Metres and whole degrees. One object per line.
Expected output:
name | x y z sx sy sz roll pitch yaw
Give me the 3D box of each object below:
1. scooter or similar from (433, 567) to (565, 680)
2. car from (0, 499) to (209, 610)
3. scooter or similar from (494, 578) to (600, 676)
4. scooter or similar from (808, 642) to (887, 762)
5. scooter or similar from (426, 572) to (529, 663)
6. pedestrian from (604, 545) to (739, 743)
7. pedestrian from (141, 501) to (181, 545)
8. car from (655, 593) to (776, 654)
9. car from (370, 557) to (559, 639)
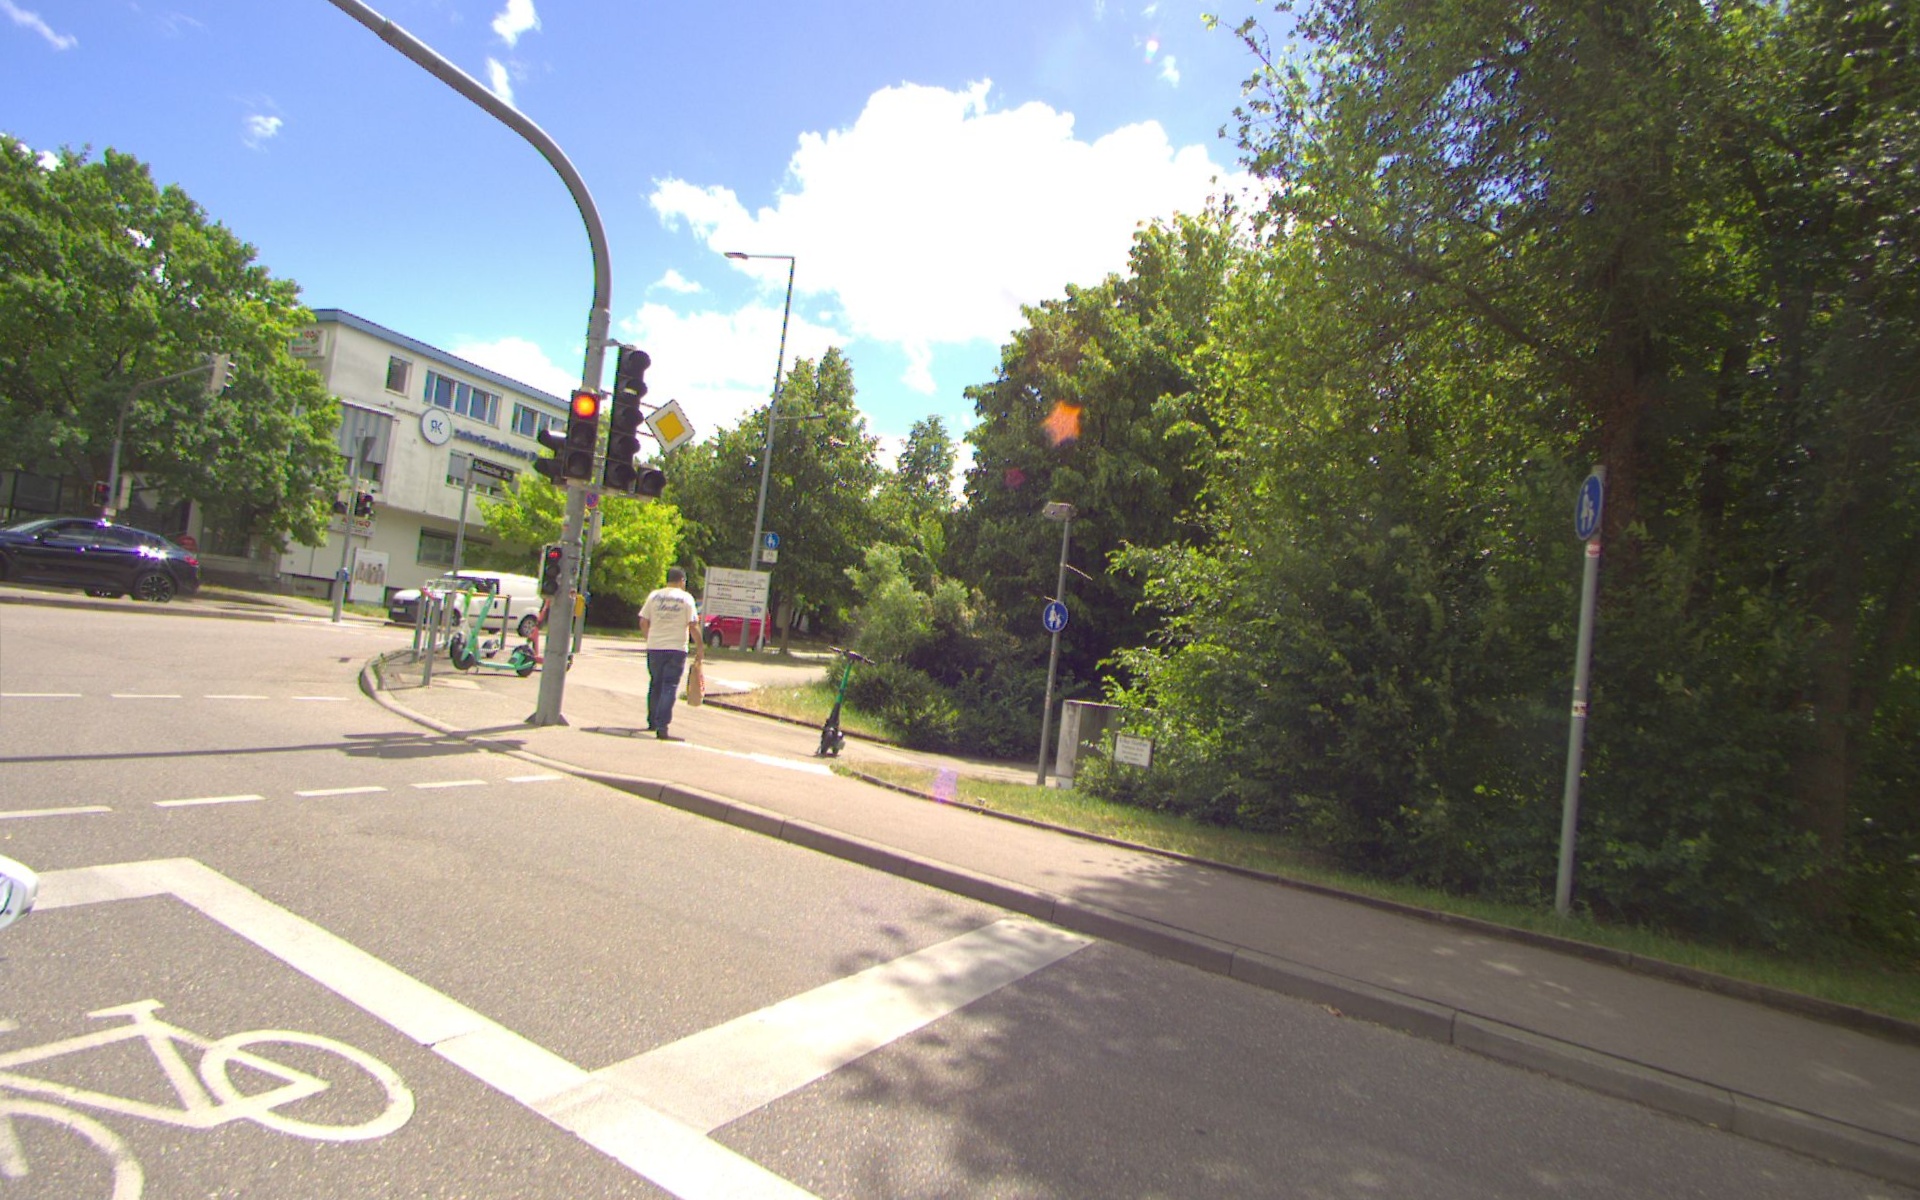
scooter or similar | -5.927 0.329 12.996 0.455 1.292 1.344 8 -1 38
car | -17.786 -0.947 19.605 1.963 1.737 4.577 7 -2 20
scooter or similar | -5.981 0.410 14.629 0.547 1.254 1.231 8 -3 23
scooter or similar | -1.388 1.245 12.260 0.706 1.287 1.243 10 -7 -7
scooter or similar | -6.996 0.278 14.656 0.533 1.168 1.362 9 -3 7
pedestrian | -2.886 0.445 10.133 0.728 1.829 0.872 7 -1 17
pedestrian | -33.243 -3.205 41.839 0.890 1.662 0.771 7 -1 19
car | -9.440 0.969 39.297 1.964 1.885 4.822 5 -3 22
car | -14.068 0.013 28.885 1.963 1.737 4.576 7 -2 22
